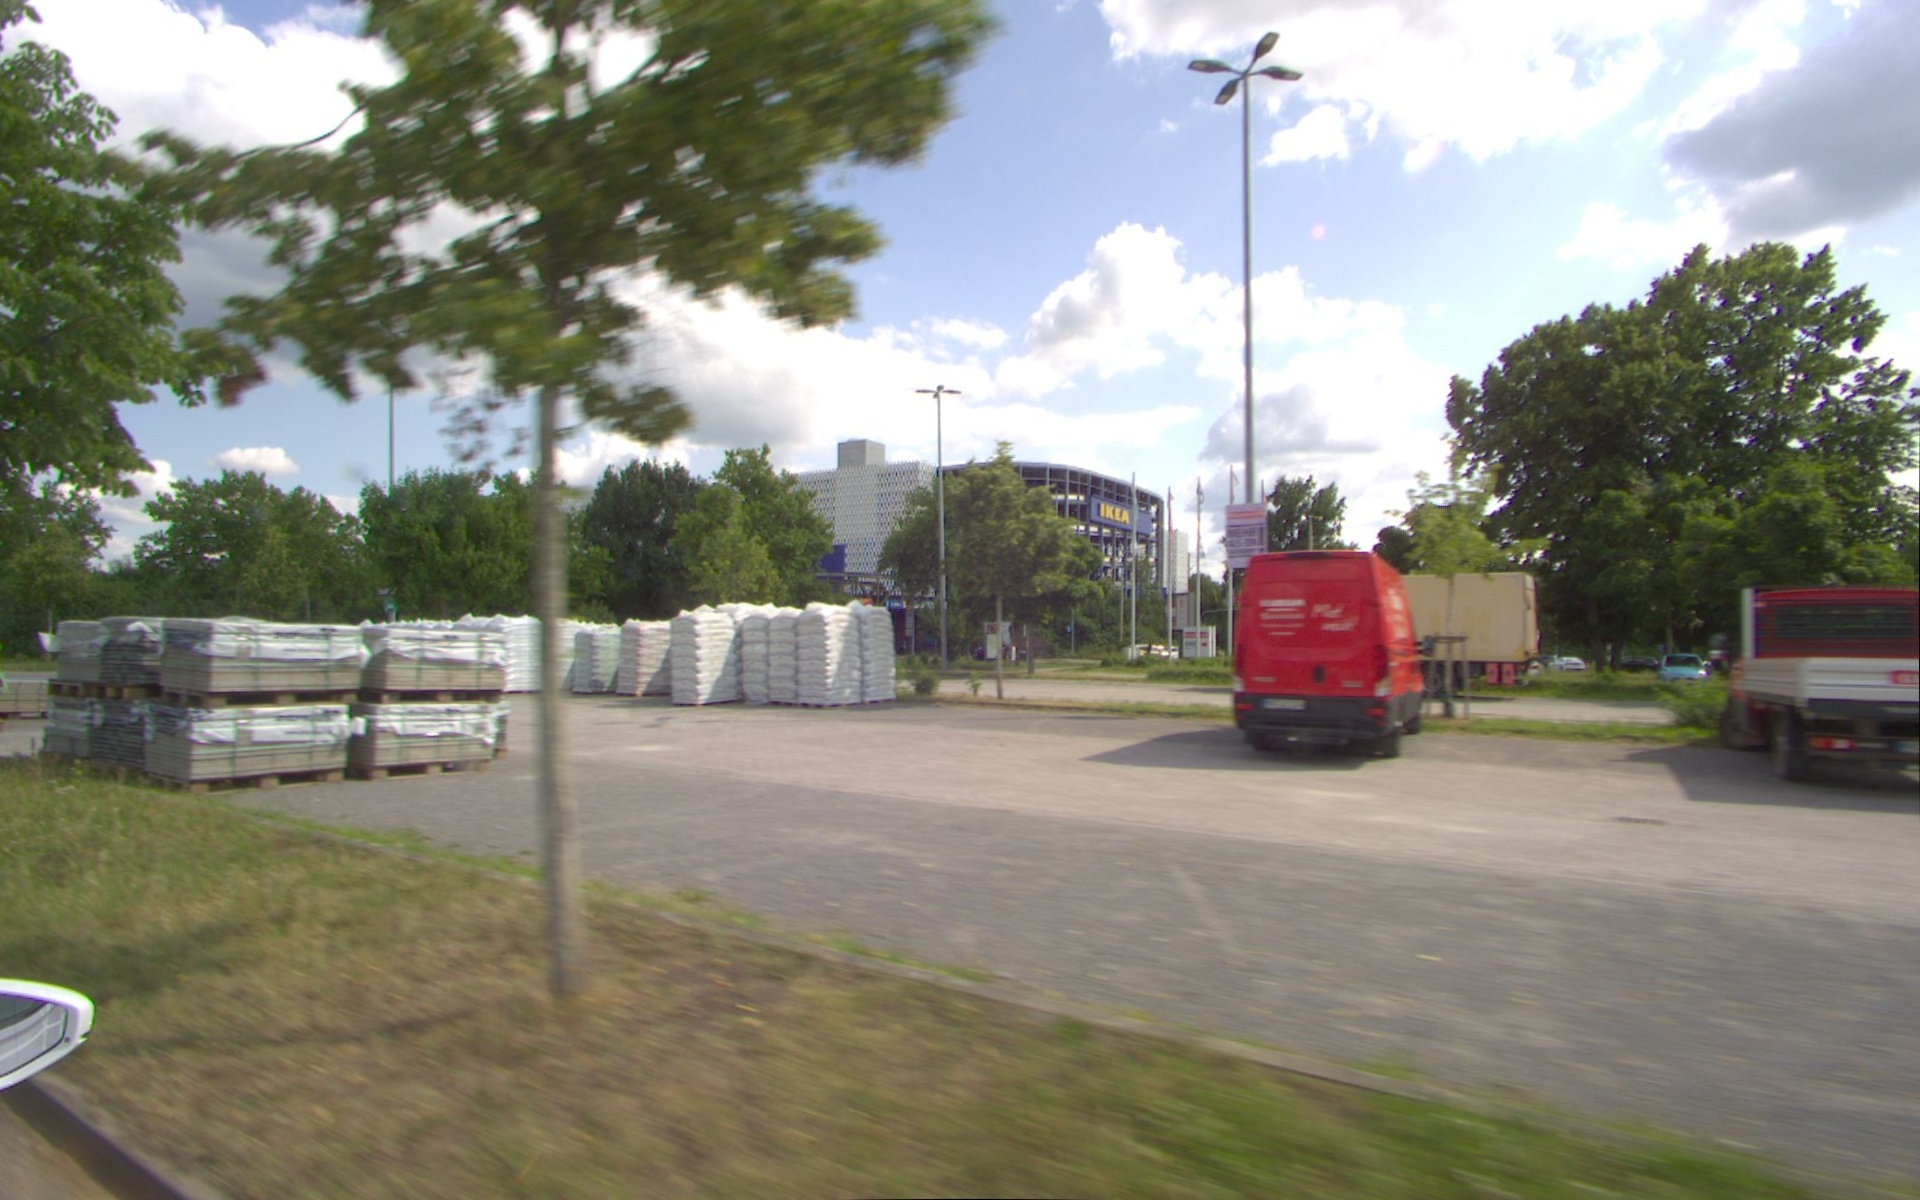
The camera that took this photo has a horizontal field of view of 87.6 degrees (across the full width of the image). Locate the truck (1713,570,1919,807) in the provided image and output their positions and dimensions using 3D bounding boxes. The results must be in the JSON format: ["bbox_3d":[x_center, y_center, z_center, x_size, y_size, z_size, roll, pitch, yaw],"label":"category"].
[{"bbox_3d":[10.883,0.949,12.081,2.140,2.284,5.839,0,-2,30],"label":"truck"}]

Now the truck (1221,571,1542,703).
[{"bbox_3d":[12.987,1.090,31.389,8.914,3.645,2.715,0,-1,35],"label":"truck"}]

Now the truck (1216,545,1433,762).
[{"bbox_3d":[5.546,0.721,14.681,2.085,2.547,5.422,0,-2,30],"label":"truck"}]
